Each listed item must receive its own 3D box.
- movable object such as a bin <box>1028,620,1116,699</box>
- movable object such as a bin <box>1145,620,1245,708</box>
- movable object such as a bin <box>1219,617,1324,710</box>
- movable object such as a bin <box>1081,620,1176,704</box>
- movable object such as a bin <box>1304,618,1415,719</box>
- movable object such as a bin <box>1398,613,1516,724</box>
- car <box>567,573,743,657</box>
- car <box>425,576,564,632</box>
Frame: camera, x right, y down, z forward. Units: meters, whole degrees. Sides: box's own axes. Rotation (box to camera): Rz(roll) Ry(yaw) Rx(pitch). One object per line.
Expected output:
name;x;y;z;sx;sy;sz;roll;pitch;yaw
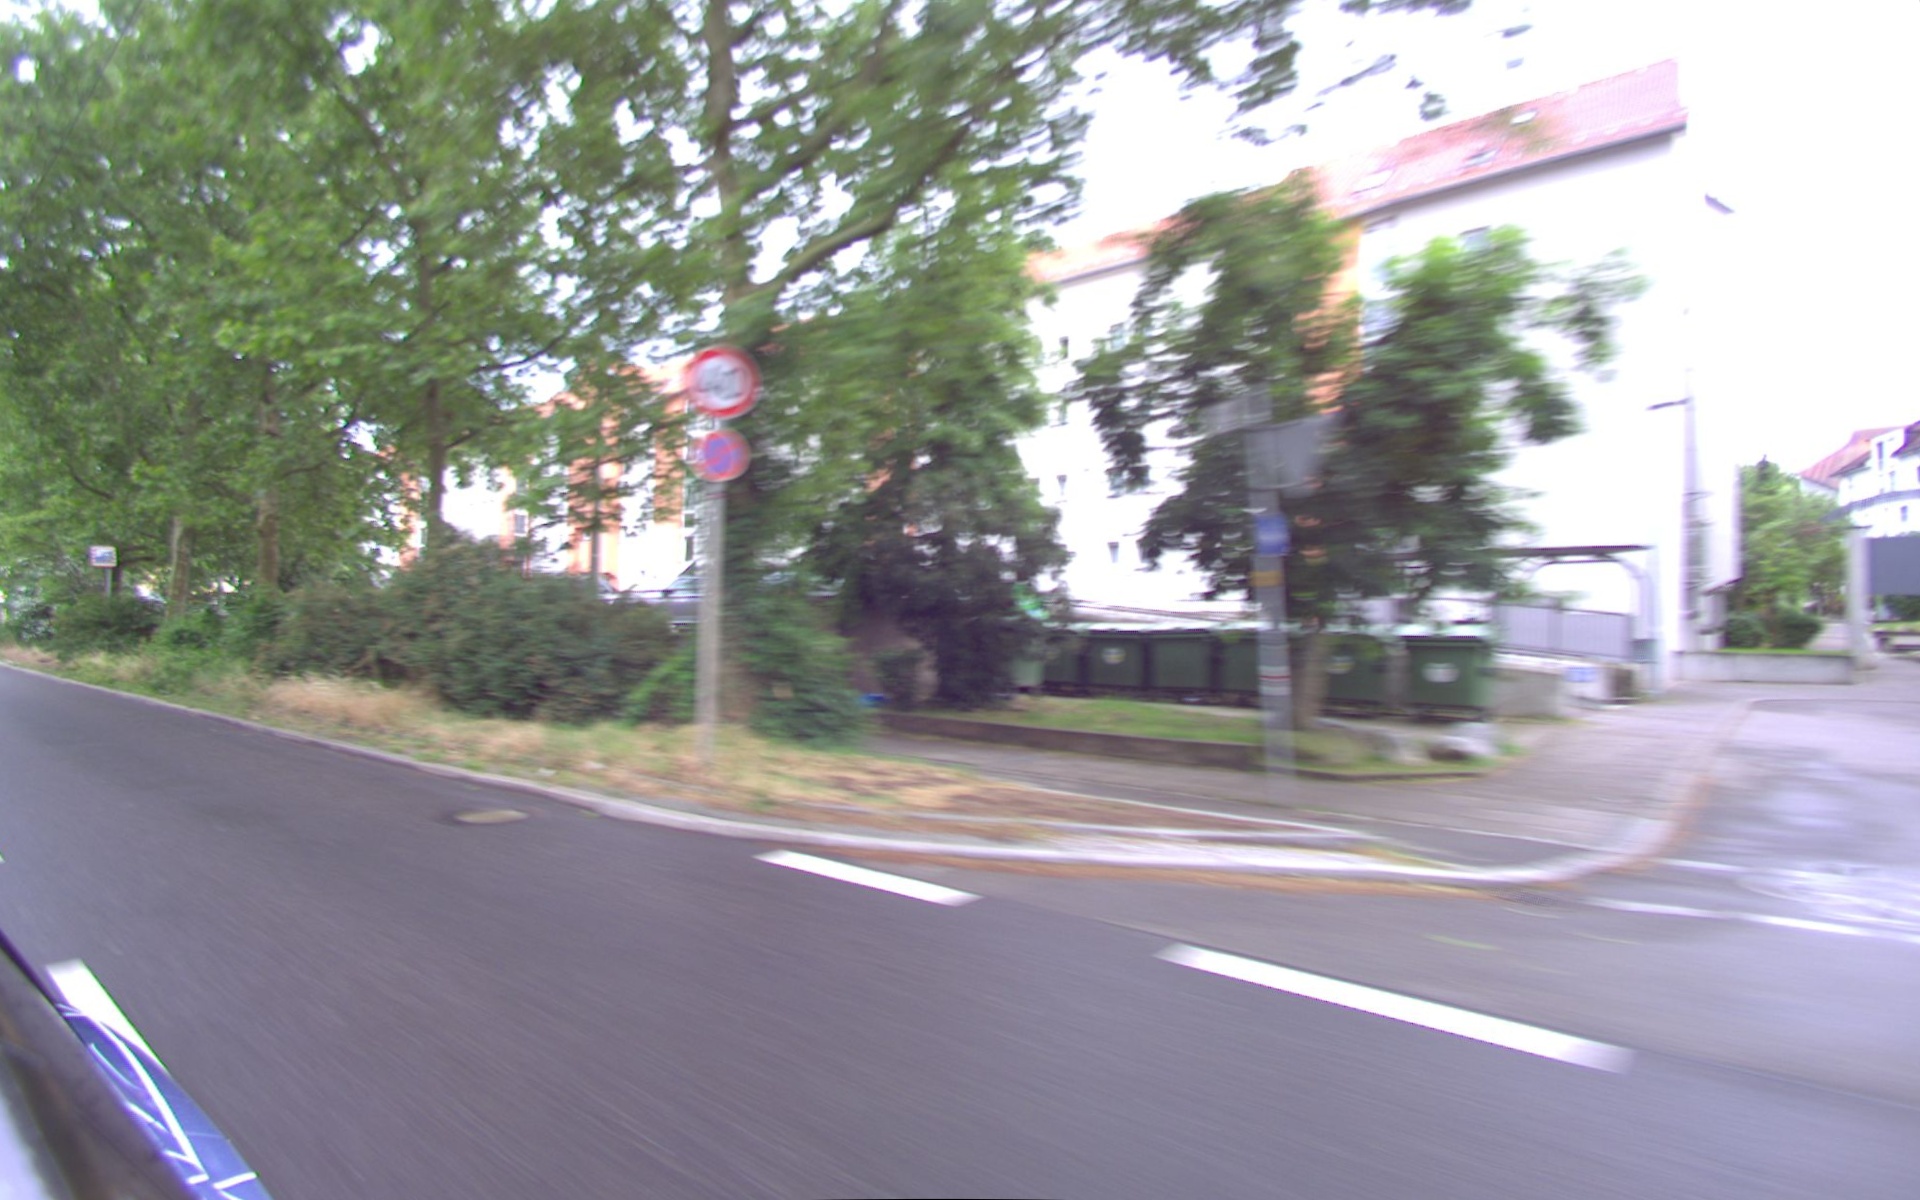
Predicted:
movable object such as a bin;2.181;1.130;19.685;1.225;1.397;1.150;-1;2;40
movable object such as a bin;4.168;1.098;17.942;1.300;1.397;1.150;-1;2;40
movable object such as a bin;5.248;1.038;17.023;1.300;1.397;1.150;-1;2;40
movable object such as a bin;3.139;1.125;18.861;1.300;1.397;1.150;-1;2;40
movable object such as a bin;6.300;1.038;15.944;1.300;1.425;1.150;-1;2;40
movable object such as a bin;7.382;0.983;15.015;1.300;1.474;1.150;-1;2;40
car;-7.962;0.452;26.608;3.939;2.029;1.958;3;-3;-43
car;-15.013;0.117;32.768;1.736;1.701;3.755;-1;0;38
